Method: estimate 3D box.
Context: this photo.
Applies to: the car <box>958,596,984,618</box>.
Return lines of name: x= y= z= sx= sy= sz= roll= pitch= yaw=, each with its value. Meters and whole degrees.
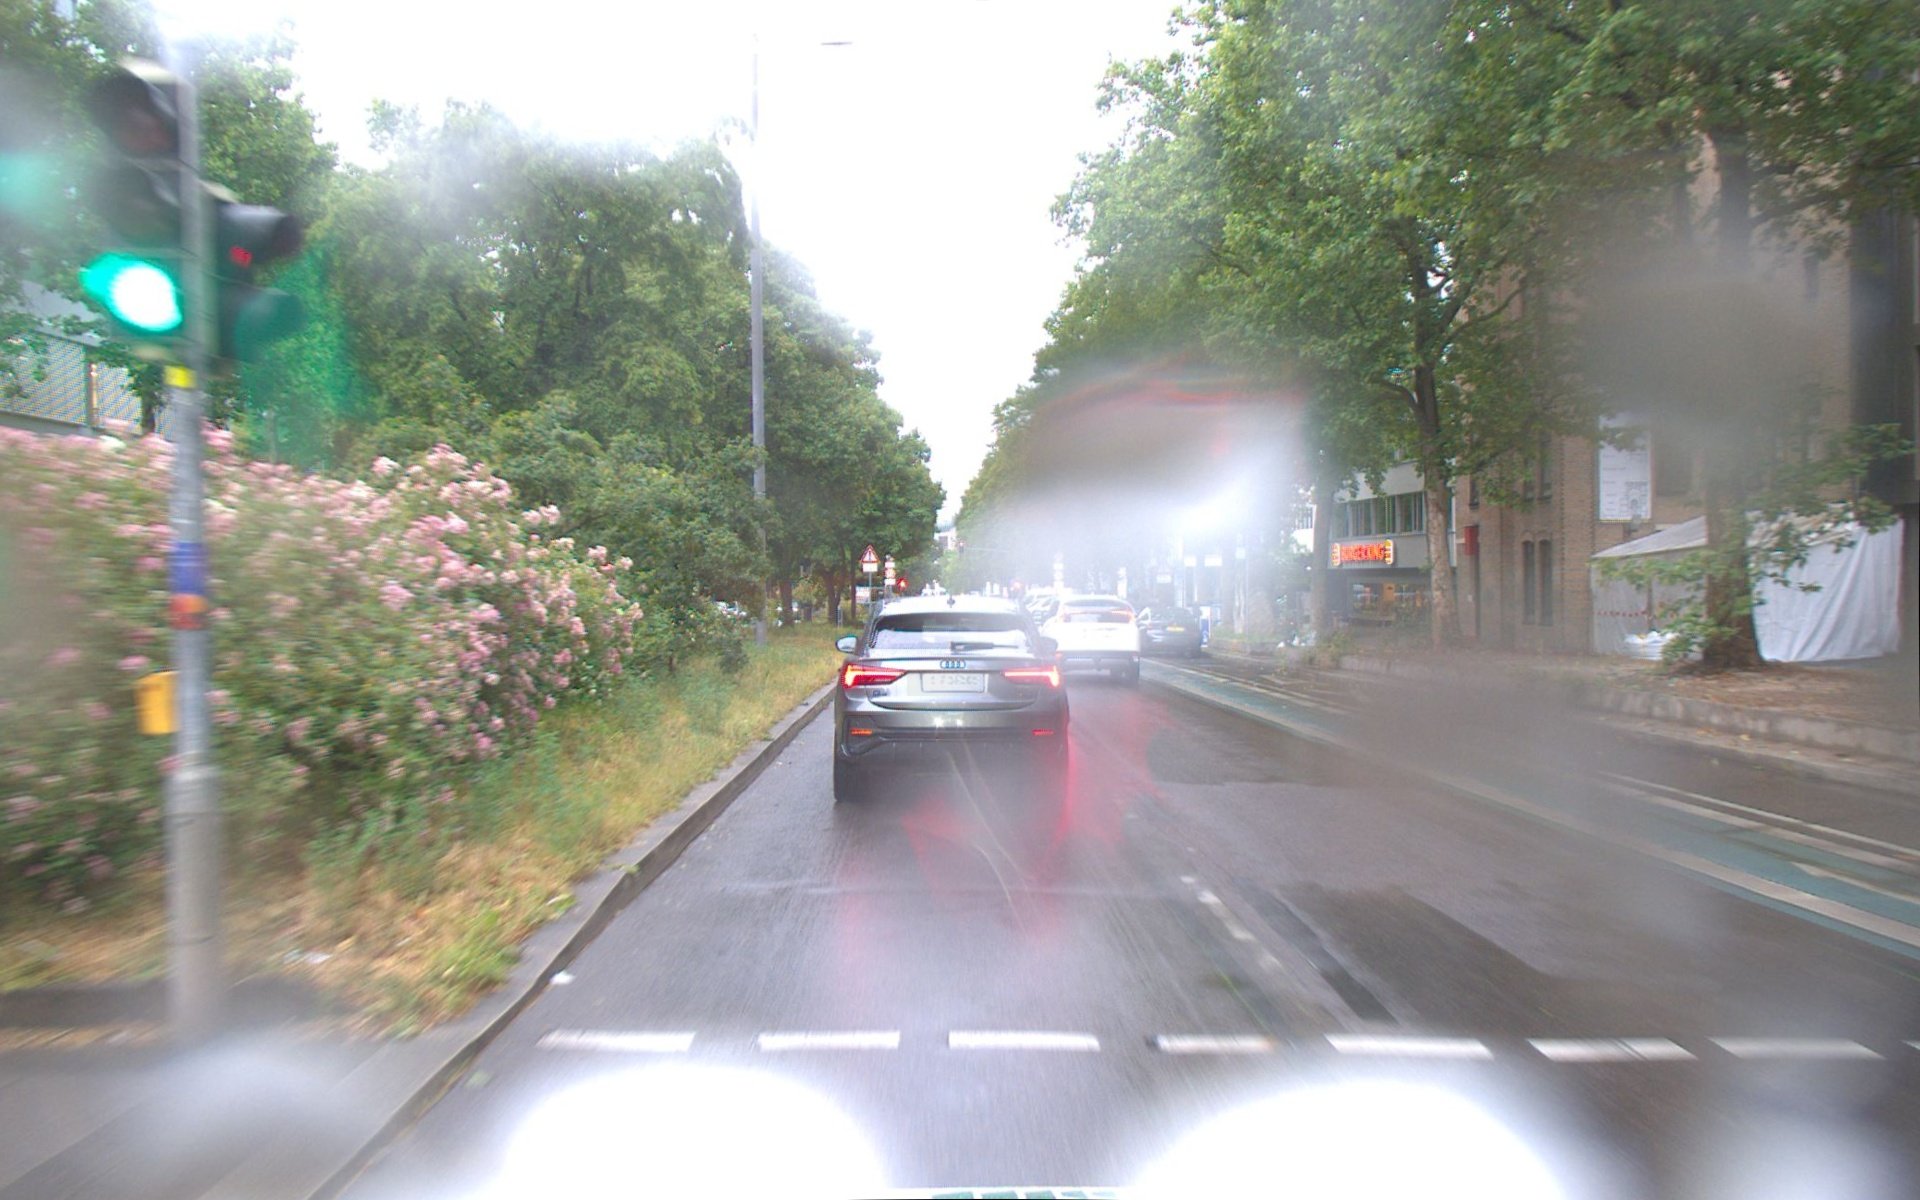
car: x=0.891 y=0.549 z=132.157 sx=1.953 sy=1.680 sz=3.999 roll=1 pitch=-1 yaw=-1

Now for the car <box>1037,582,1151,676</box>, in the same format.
car: x=2.610 y=0.571 z=33.000 sx=1.840 sy=1.727 sz=3.999 roll=1 pitch=-1 yaw=-1

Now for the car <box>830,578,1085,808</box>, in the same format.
car: x=-0.087 y=0.669 z=13.790 sx=1.812 sy=1.630 sz=3.998 roll=0 pitch=0 yaw=-2

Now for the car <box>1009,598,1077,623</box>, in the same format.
car: x=6.088 y=0.767 z=121.775 sx=4.548 sy=1.736 sz=1.998 roll=1 pitch=-1 yaw=27

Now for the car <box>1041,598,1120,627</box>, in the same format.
car: x=7.603 y=0.770 z=104.238 sx=4.548 sy=1.736 sz=1.998 roll=1 pitch=-1 yaw=27

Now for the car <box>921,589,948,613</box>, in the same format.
car: x=-1.895 y=0.095 z=122.690 sx=1.953 sy=1.757 sz=3.998 roll=1 pitch=-1 yaw=-2

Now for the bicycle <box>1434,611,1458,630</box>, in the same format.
bicycle: x=22.092 y=0.938 z=75.162 sx=0.439 sy=0.851 sz=2.026 roll=1 pitch=-1 yaw=-1

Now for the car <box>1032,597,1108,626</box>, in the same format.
car: x=7.169 y=0.752 z=107.796 sx=4.548 sy=1.736 sz=1.998 roll=1 pitch=-1 yaw=27

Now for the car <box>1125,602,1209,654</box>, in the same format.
car: x=6.155 y=0.810 z=49.675 sx=1.835 sy=1.446 sz=4.610 roll=1 pitch=0 yaw=-1

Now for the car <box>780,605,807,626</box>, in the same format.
car: x=-13.875 y=1.309 z=138.207 sx=1.724 sy=1.733 sz=4.333 roll=1 pitch=-1 yaw=1

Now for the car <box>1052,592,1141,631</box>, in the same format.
car: x=7.455 y=0.605 z=90.611 sx=4.517 sy=2.049 sz=1.960 roll=1 pitch=-1 yaw=37

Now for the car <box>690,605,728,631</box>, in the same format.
car: x=-14.226 y=1.021 z=93.959 sx=1.615 sy=1.460 sz=3.812 roll=0 pitch=-1 yaw=0

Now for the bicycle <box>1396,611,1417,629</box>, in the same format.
bicycle: x=21.793 y=0.990 z=80.798 sx=0.439 sy=0.851 sz=2.026 roll=1 pitch=-1 yaw=-1

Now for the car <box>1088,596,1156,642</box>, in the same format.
car: x=5.896 y=0.704 z=60.620 sx=1.694 sy=1.599 sz=4.068 roll=1 pitch=-1 yaw=-6

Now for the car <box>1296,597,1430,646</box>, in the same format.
car: x=9.684 y=0.513 z=39.754 sx=2.830 sy=1.093 sz=1.453 roll=1 pitch=-1 yaw=30
